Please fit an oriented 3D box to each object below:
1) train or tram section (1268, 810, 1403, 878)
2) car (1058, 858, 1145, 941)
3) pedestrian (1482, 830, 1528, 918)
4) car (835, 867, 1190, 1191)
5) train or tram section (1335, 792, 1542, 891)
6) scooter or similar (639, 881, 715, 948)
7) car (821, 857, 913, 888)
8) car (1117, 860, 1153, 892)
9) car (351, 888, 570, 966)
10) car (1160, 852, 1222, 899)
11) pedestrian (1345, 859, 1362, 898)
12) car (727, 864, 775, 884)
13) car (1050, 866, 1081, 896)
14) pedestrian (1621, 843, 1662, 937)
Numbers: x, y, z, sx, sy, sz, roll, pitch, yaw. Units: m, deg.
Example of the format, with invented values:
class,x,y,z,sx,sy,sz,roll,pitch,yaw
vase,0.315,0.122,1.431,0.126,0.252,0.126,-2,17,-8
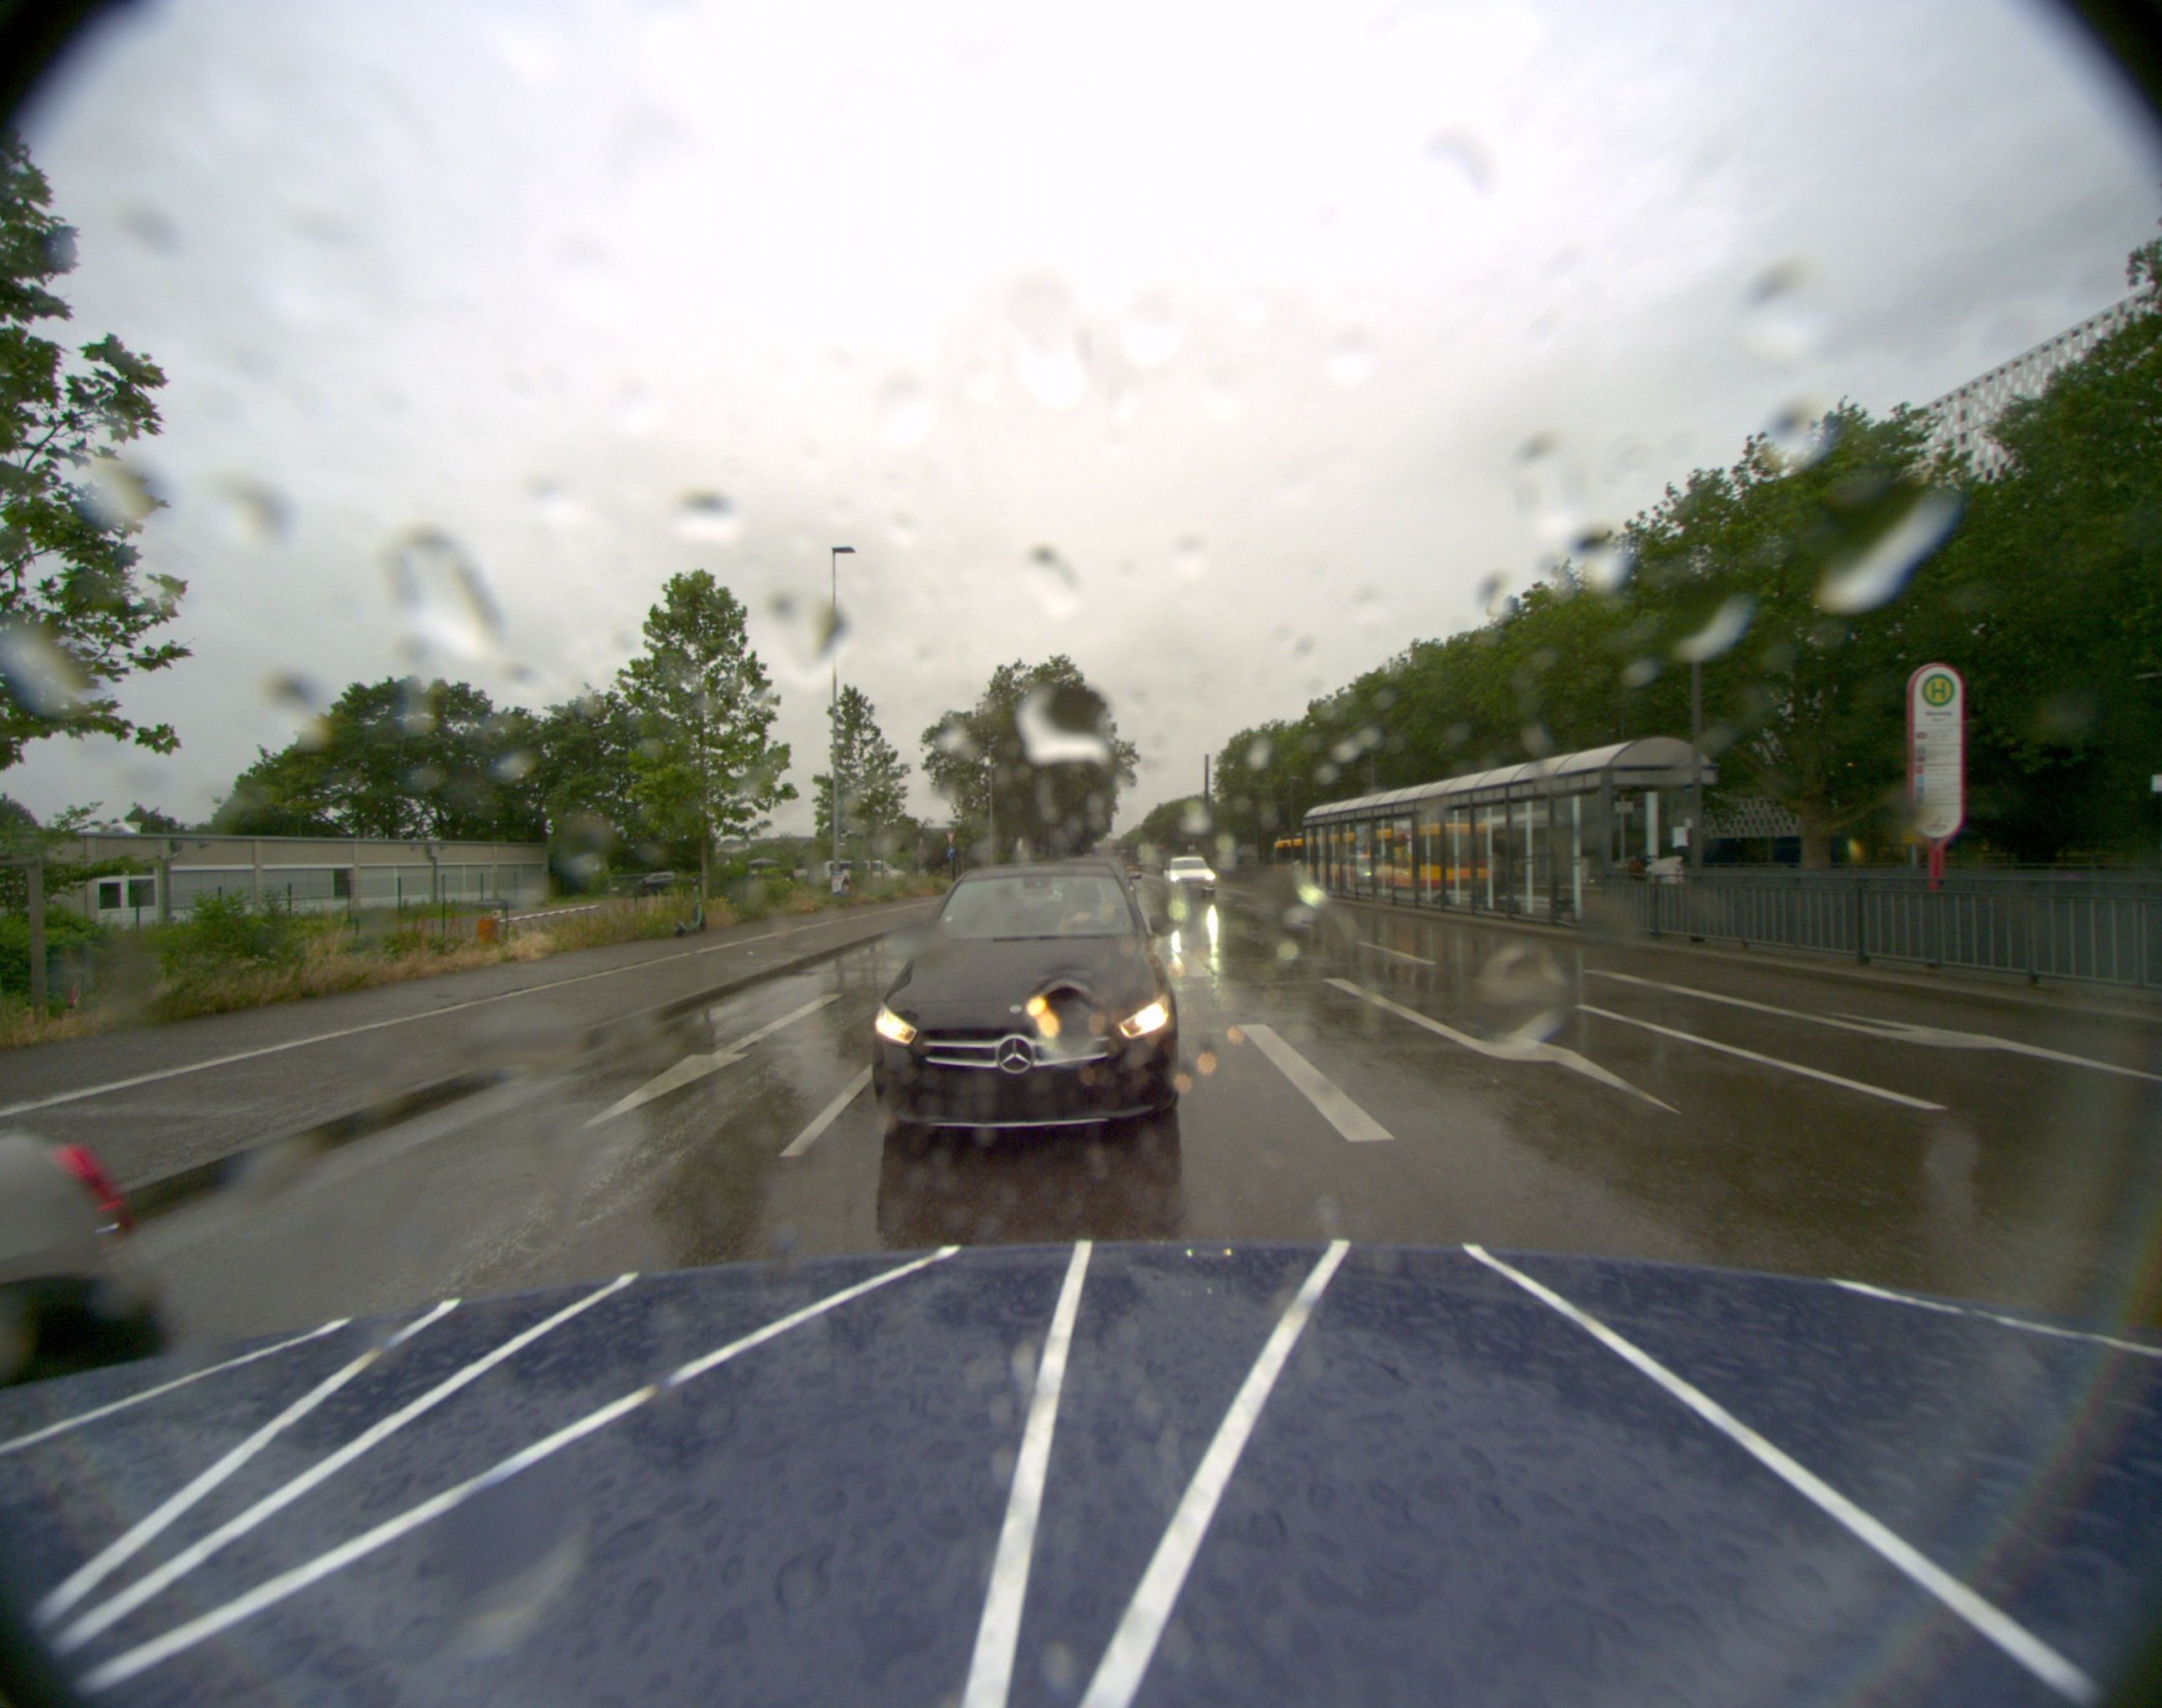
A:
class,x,y,z,sx,sy,sz,roll,pitch,yaw
train or tram section,16.617,-0.605,51.669,3.751,3.777,15.570,-3,0,0
car,0.455,0.904,16.881,1.689,1.611,4.000,-1,0,2
pedestrian,9.278,0.427,16.651,0.655,1.860,0.773,-2,1,17
car,-0.183,0.932,5.915,1.758,1.572,4.171,-2,-1,5
train or tram section,16.624,-0.529,37.238,3.751,3.817,13.253,-3,0,0
scooter or similar,-8.184,1.184,15.480,0.367,1.192,1.913,-2,0,4
car,-13.510,1.152,48.119,5.174,1.715,2.006,-3,1,-1
car,2.852,1.146,40.428,1.557,1.541,3.717,-3,0,0
car,-12.021,1.402,14.819,3.243,1.281,1.345,-3,1,6
car,4.559,0.832,32.114,1.935,1.765,4.663,-3,0,1
pedestrian,8.799,0.786,24.524,0.458,1.229,0.467,-2,2,15
car,-28.222,1.719,65.017,3.552,1.574,1.345,-3,1,6
car,-0.840,1.497,42.976,1.557,1.500,3.618,-2,0,2
pedestrian,9.162,0.578,12.426,0.321,1.485,0.415,-3,1,6
